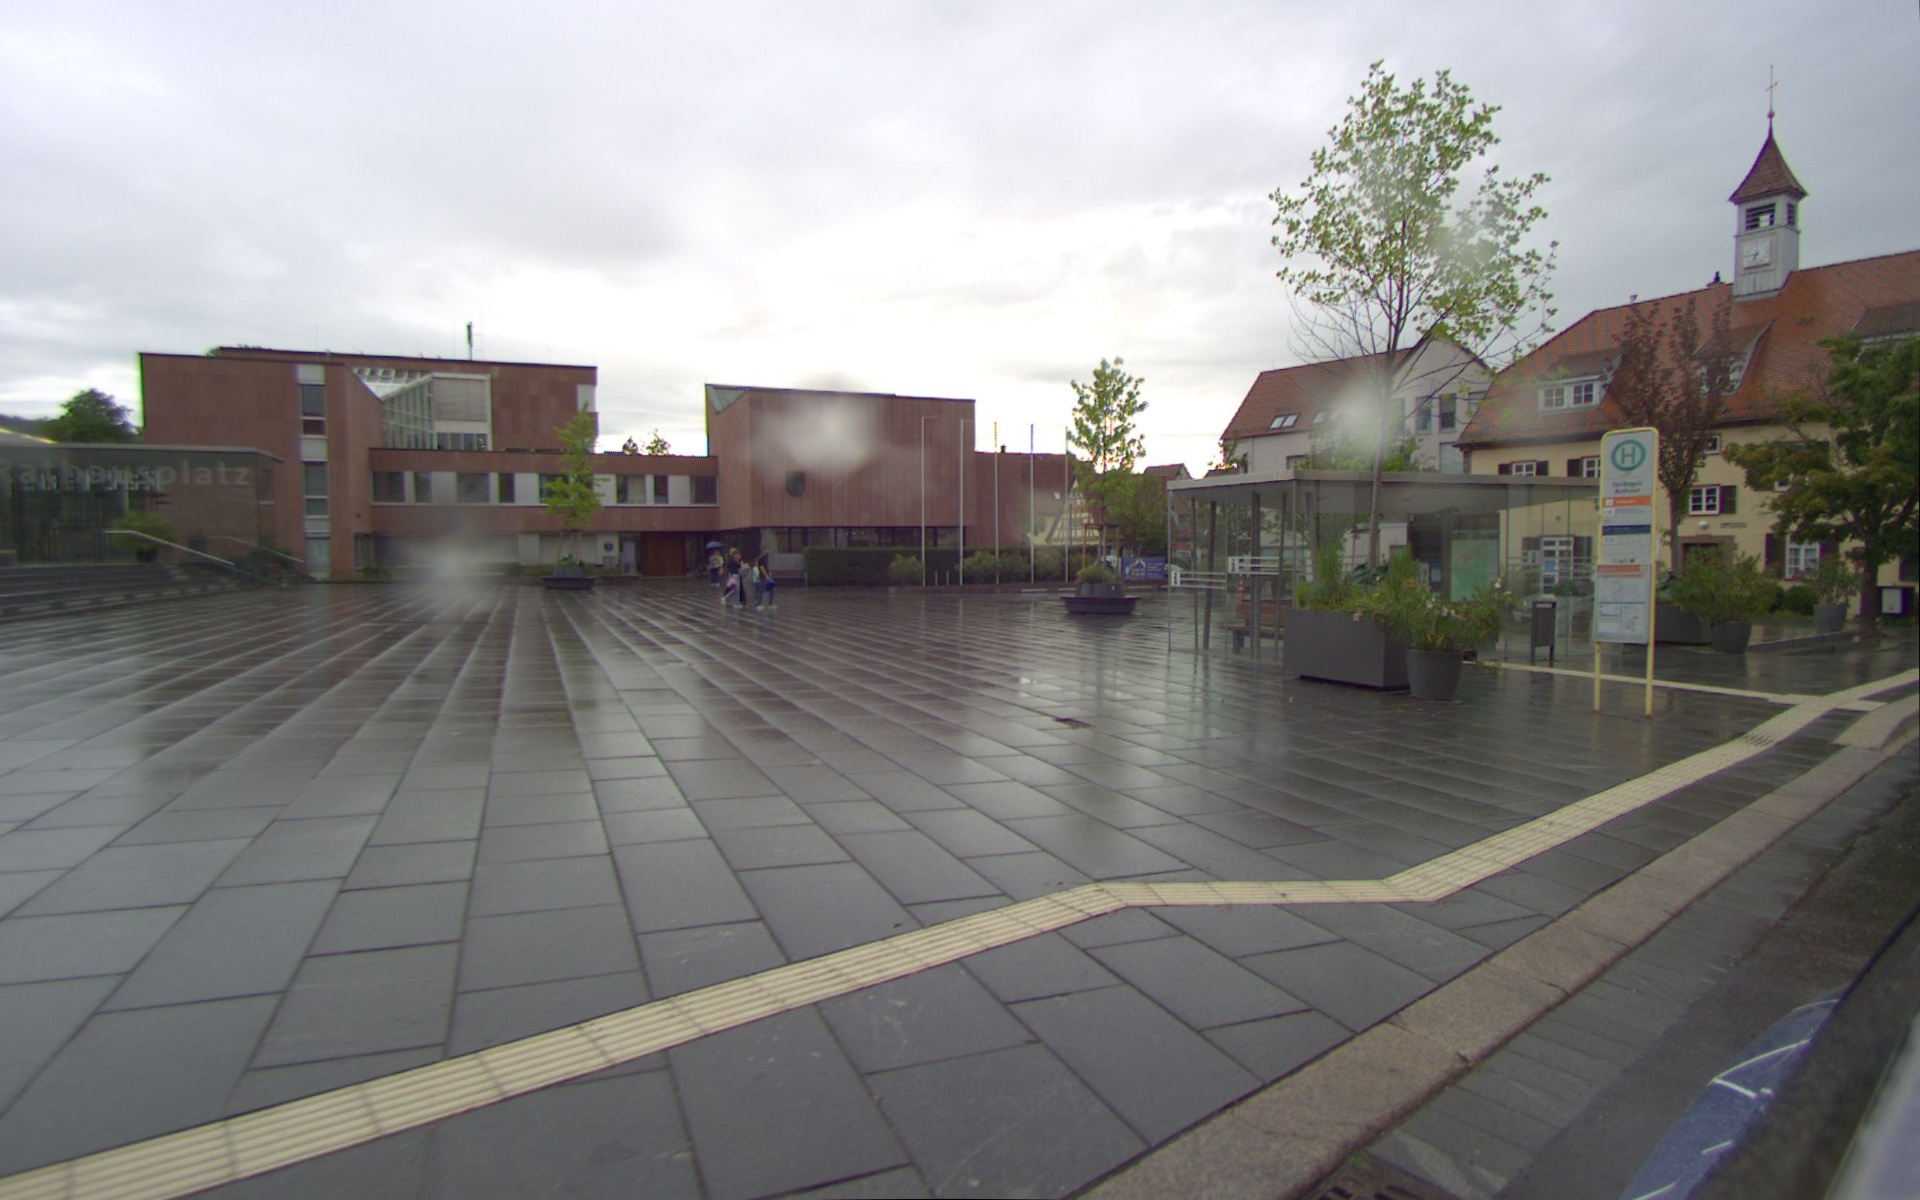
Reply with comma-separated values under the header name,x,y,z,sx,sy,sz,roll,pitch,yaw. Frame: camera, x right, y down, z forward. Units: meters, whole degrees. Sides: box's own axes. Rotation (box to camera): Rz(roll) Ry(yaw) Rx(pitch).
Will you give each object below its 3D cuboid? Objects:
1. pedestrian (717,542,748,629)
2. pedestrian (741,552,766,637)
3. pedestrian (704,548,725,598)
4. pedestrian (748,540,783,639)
name,x,y,z,sx,sy,sz,roll,pitch,yaw
pedestrian,-6.589,-0.430,29.306,0.760,2.468,0.946,-1,3,-21
pedestrian,-6.108,-0.166,29.913,0.557,2.468,0.738,-1,3,-23
pedestrian,-11.722,-1.296,48.355,0.783,2.336,0.905,-1,3,-27
pedestrian,-5.457,-0.322,28.387,0.814,2.716,1.060,-1,3,-18
